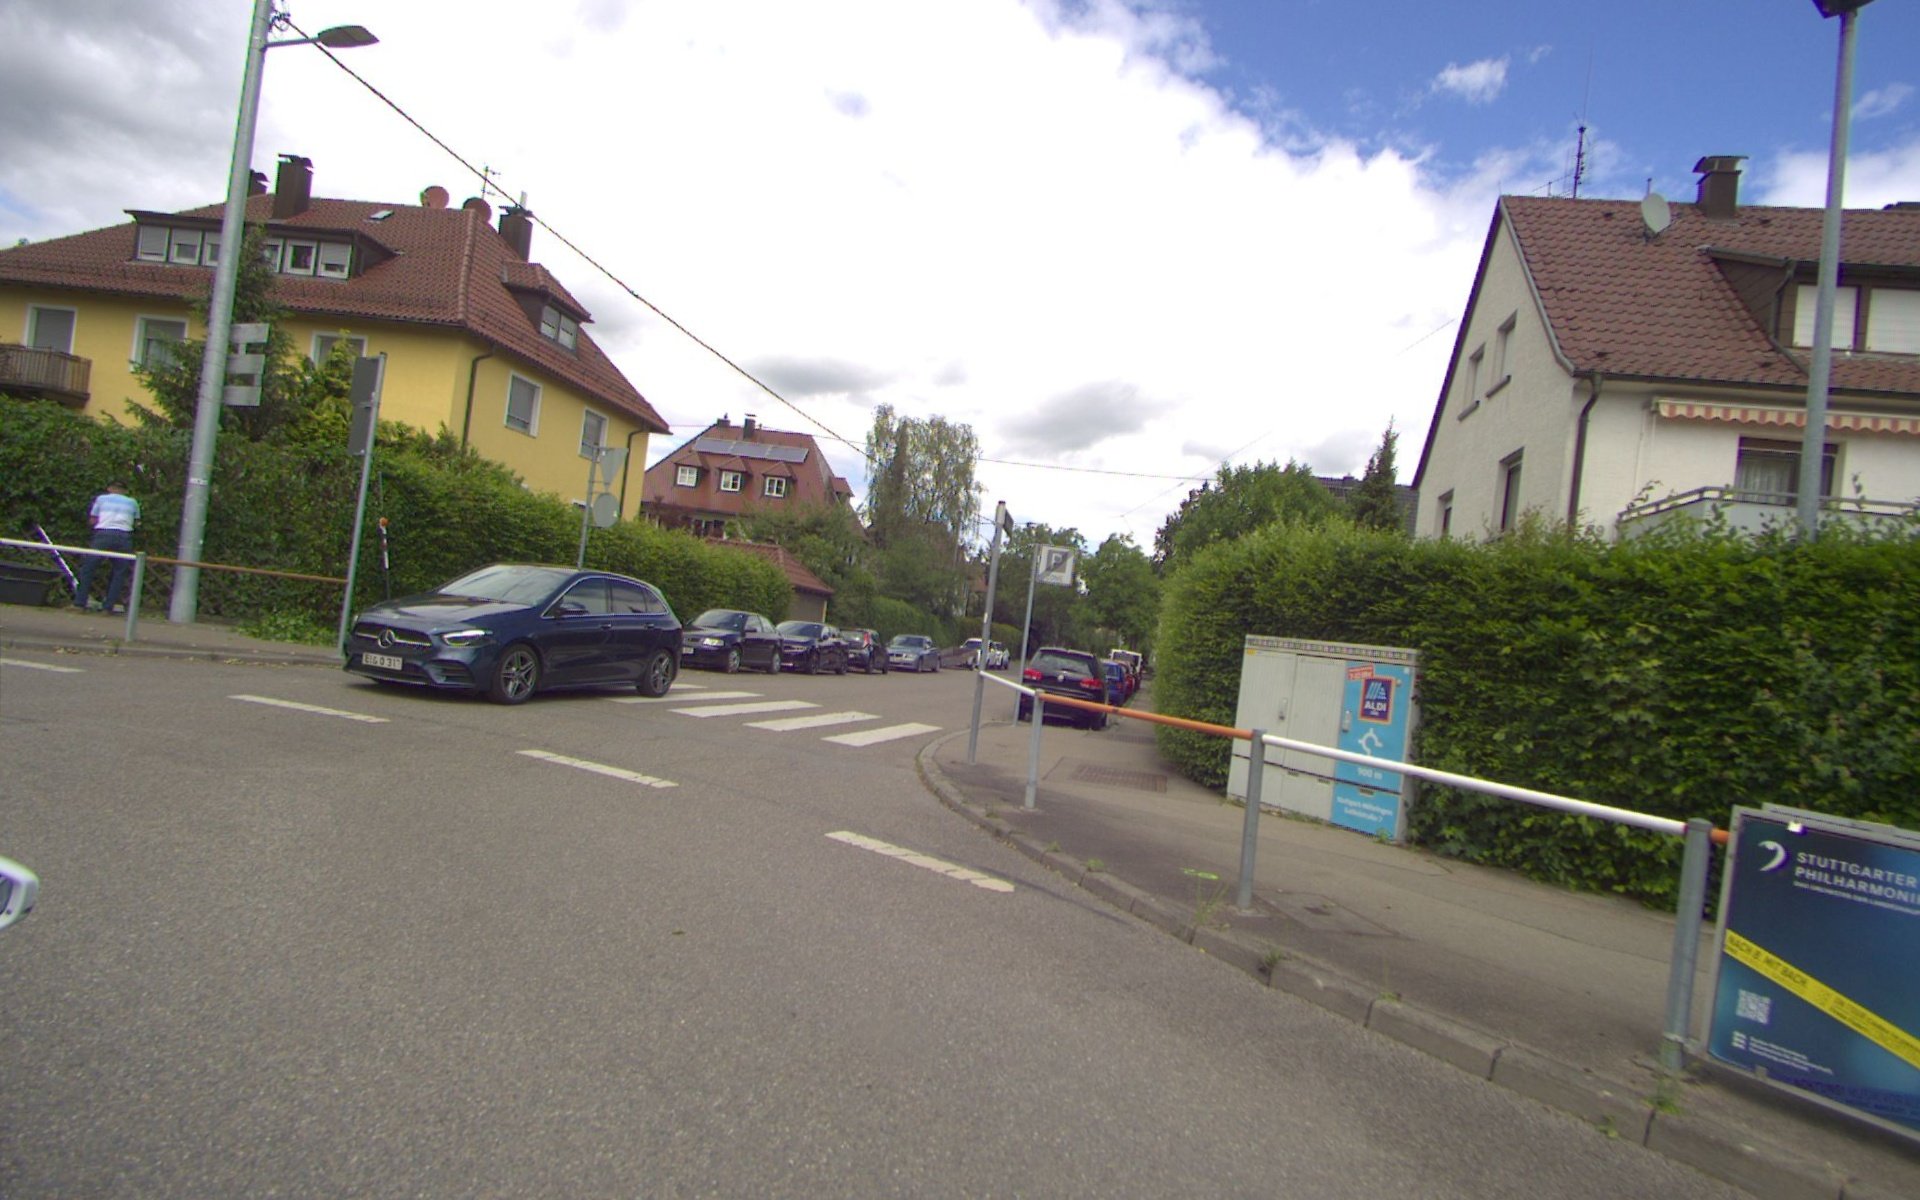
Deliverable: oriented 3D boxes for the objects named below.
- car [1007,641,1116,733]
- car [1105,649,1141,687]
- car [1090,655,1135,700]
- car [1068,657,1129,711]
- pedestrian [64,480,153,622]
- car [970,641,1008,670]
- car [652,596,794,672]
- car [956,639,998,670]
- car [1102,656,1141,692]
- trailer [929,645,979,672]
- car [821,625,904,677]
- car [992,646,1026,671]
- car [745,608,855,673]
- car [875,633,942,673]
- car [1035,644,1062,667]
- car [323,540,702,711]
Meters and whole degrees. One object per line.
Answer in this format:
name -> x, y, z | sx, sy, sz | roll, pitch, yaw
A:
car -> 2.157, 1.748, 20.505 | 1.676, 1.470, 3.623 | 8, -3, 12
car -> 8.525, 3.481, 52.362 | 1.513, 1.706, 3.432 | 8, -1, 12
car -> 5.752, 2.864, 37.749 | 1.308, 1.436, 3.214 | 8, -1, 12
car -> 4.456, 2.611, 31.996 | 1.540, 1.383, 3.442 | 8, -1, 12
pedestrian -> -10.695, -0.607, 12.654 | 0.648, 1.676, 0.588 | 7, 0, -36
car -> 1.719, 3.187, 58.557 | 1.521, 1.502, 3.568 | 4, -1, 12
car -> -5.251, 0.832, 22.766 | 1.521, 1.363, 3.792 | 8, -3, 12
car -> 0.943, 2.917, 54.439 | 1.521, 1.502, 3.568 | 4, -1, 12
car -> 7.642, 3.479, 47.506 | 1.513, 1.406, 3.432 | 8, -1, 12
trailer -> -0.245, 2.801, 48.903 | 1.588, 1.140, 3.726 | 4, -1, 12
car -> -3.173, 1.691, 33.423 | 1.521, 1.420, 3.858 | 8, -1, 12
car -> 3.061, 3.588, 62.312 | 1.521, 1.385, 3.568 | 4, -1, 12
car -> -4.255, 1.103, 27.313 | 1.521, 1.420, 3.858 | 8, -1, 12
car -> -1.961, 2.051, 39.278 | 1.569, 1.355, 3.917 | 4, -1, 12
car -> 6.544, 4.081, 74.027 | 1.521, 1.502, 3.568 | 4, -1, 12
car -> -4.918, 0.365, 11.856 | 1.553, 1.465, 4.325 | 8, -1, 15
